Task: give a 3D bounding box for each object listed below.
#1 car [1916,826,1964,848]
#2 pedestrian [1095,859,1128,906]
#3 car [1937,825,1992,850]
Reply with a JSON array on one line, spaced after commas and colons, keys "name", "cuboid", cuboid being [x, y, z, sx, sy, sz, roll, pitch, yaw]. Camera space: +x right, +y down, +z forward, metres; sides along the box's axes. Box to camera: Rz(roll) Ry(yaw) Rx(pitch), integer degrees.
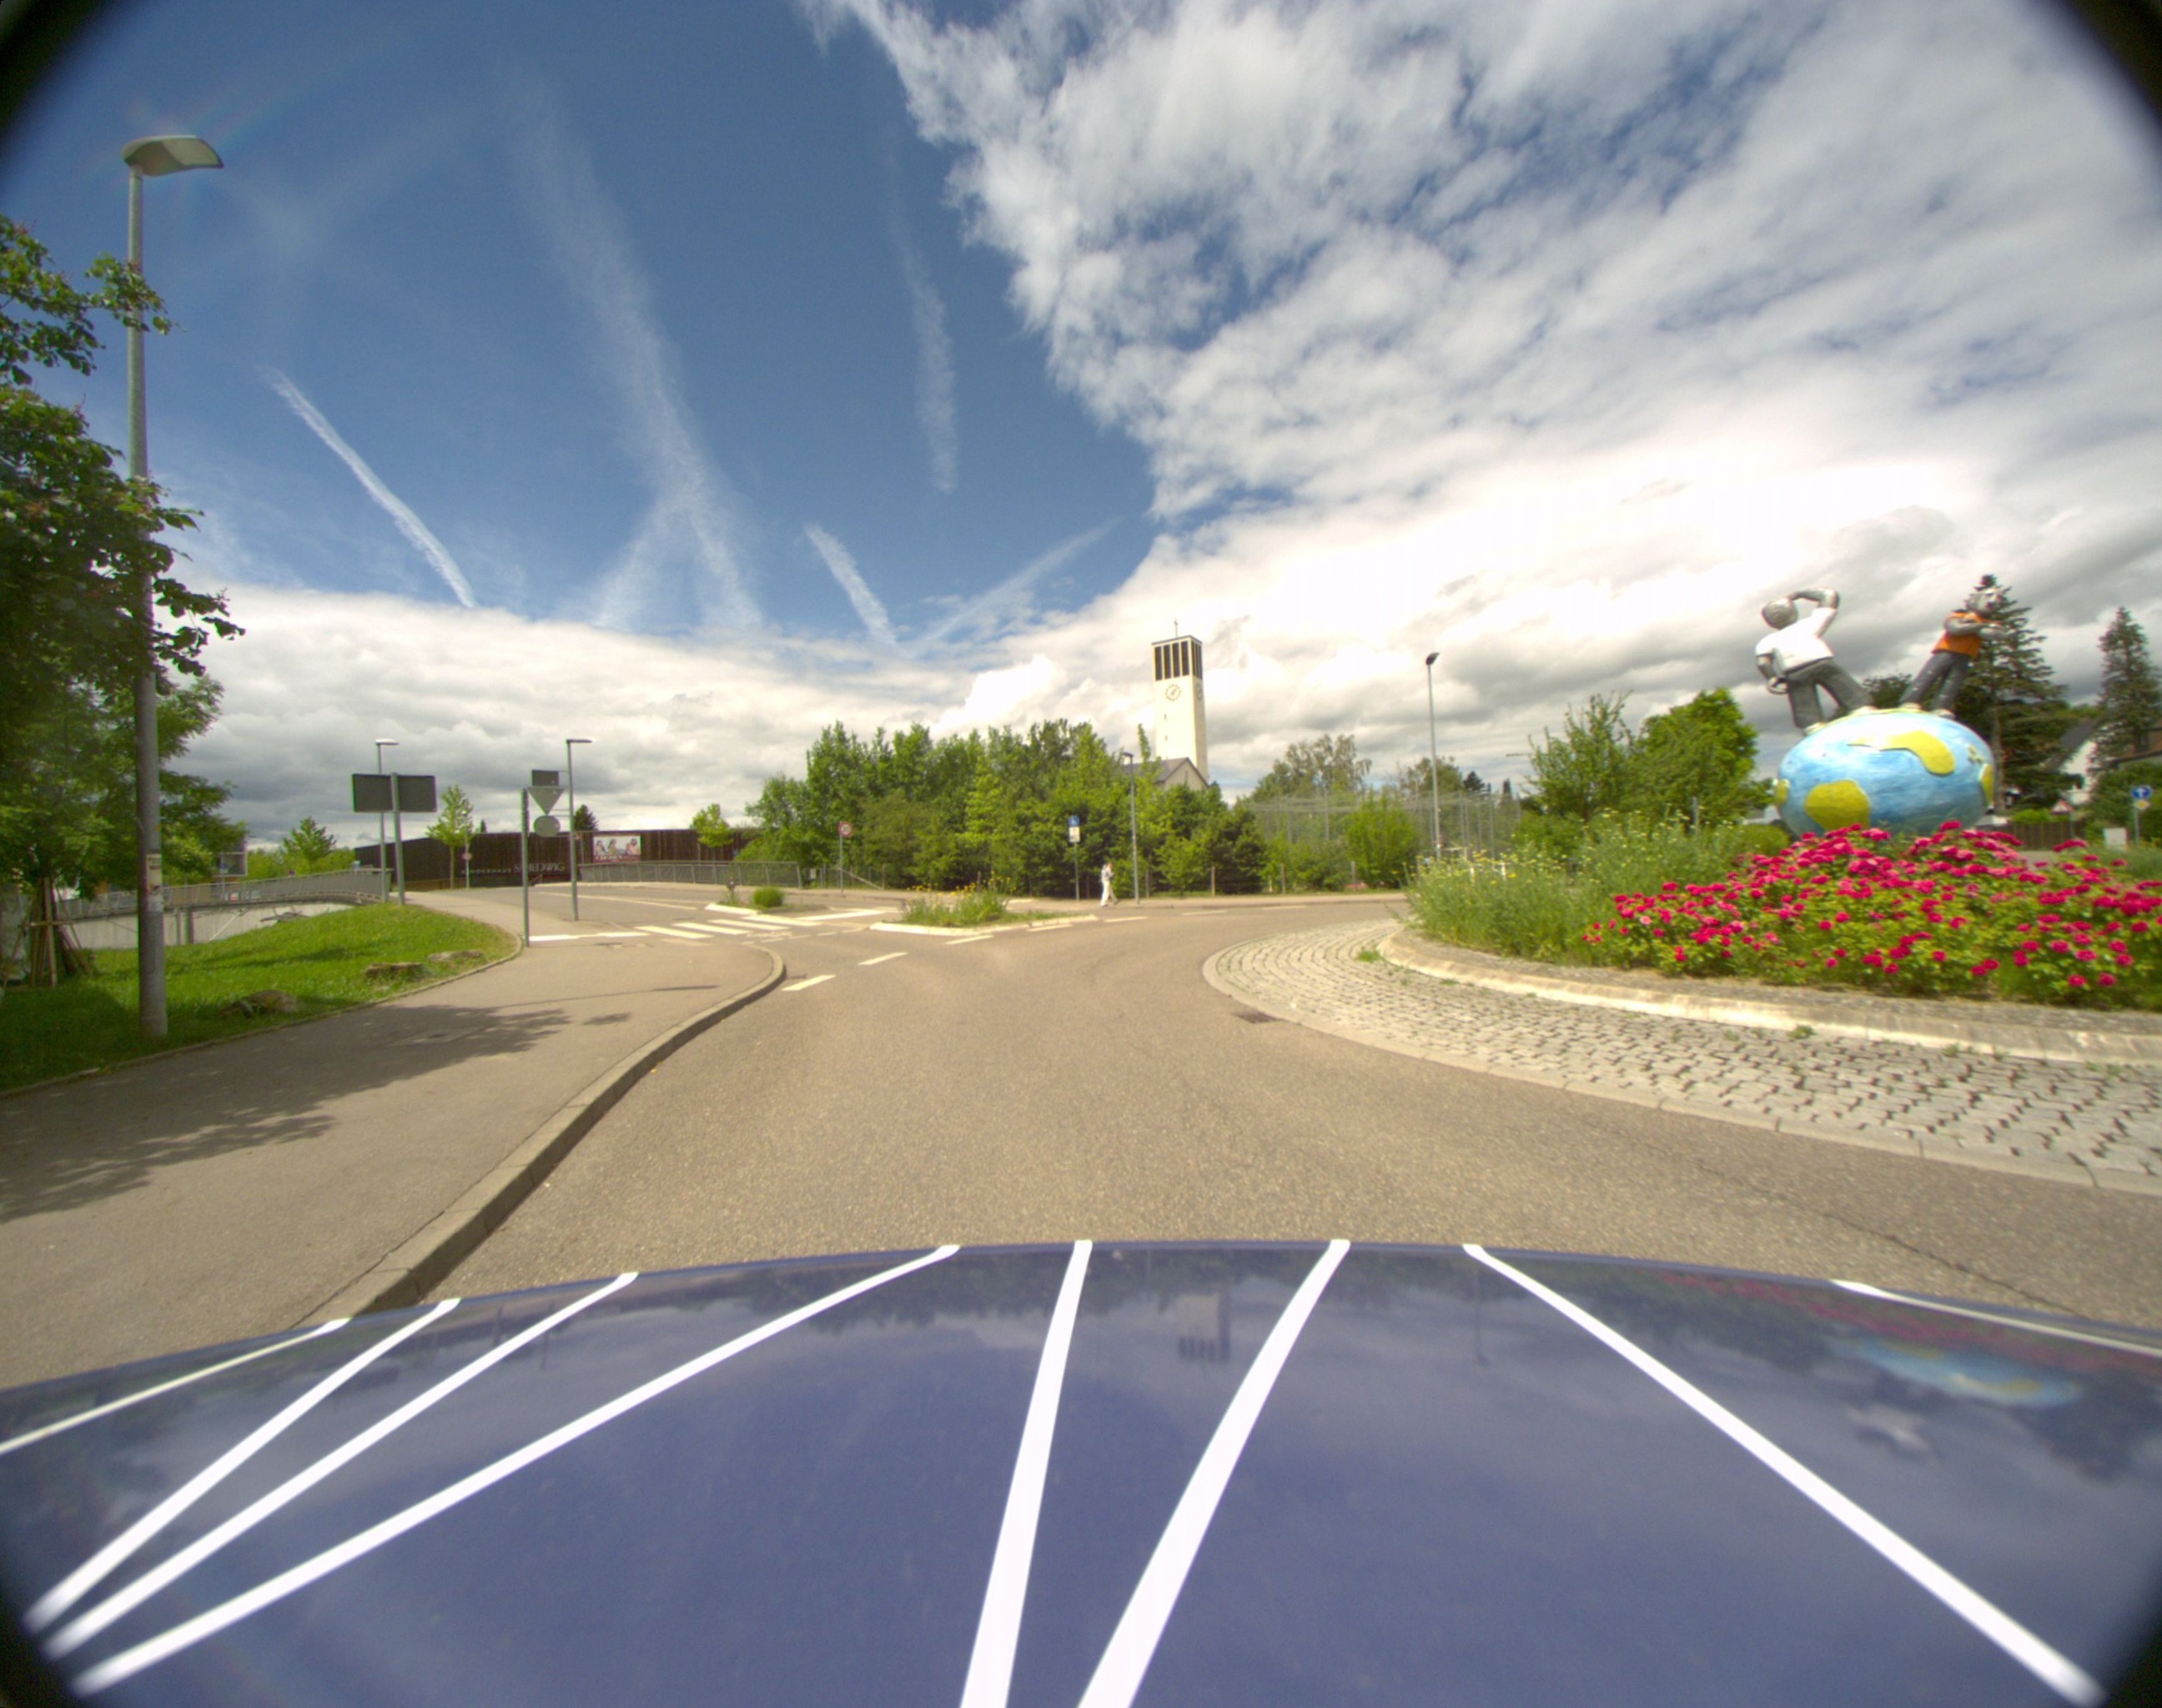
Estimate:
[{"name": "car", "cuboid": [67.220, -1.363, 59.503, 1.783, 1.568, 4.008, -4, 0, 39]}, {"name": "pedestrian", "cuboid": [1.060, 0.973, 26.186, 0.965, 1.525, 0.457, -6, 2, -44]}, {"name": "car", "cuboid": [63.792, -1.211, 54.944, 1.859, 1.568, 4.008, -4, 0, 39]}]
